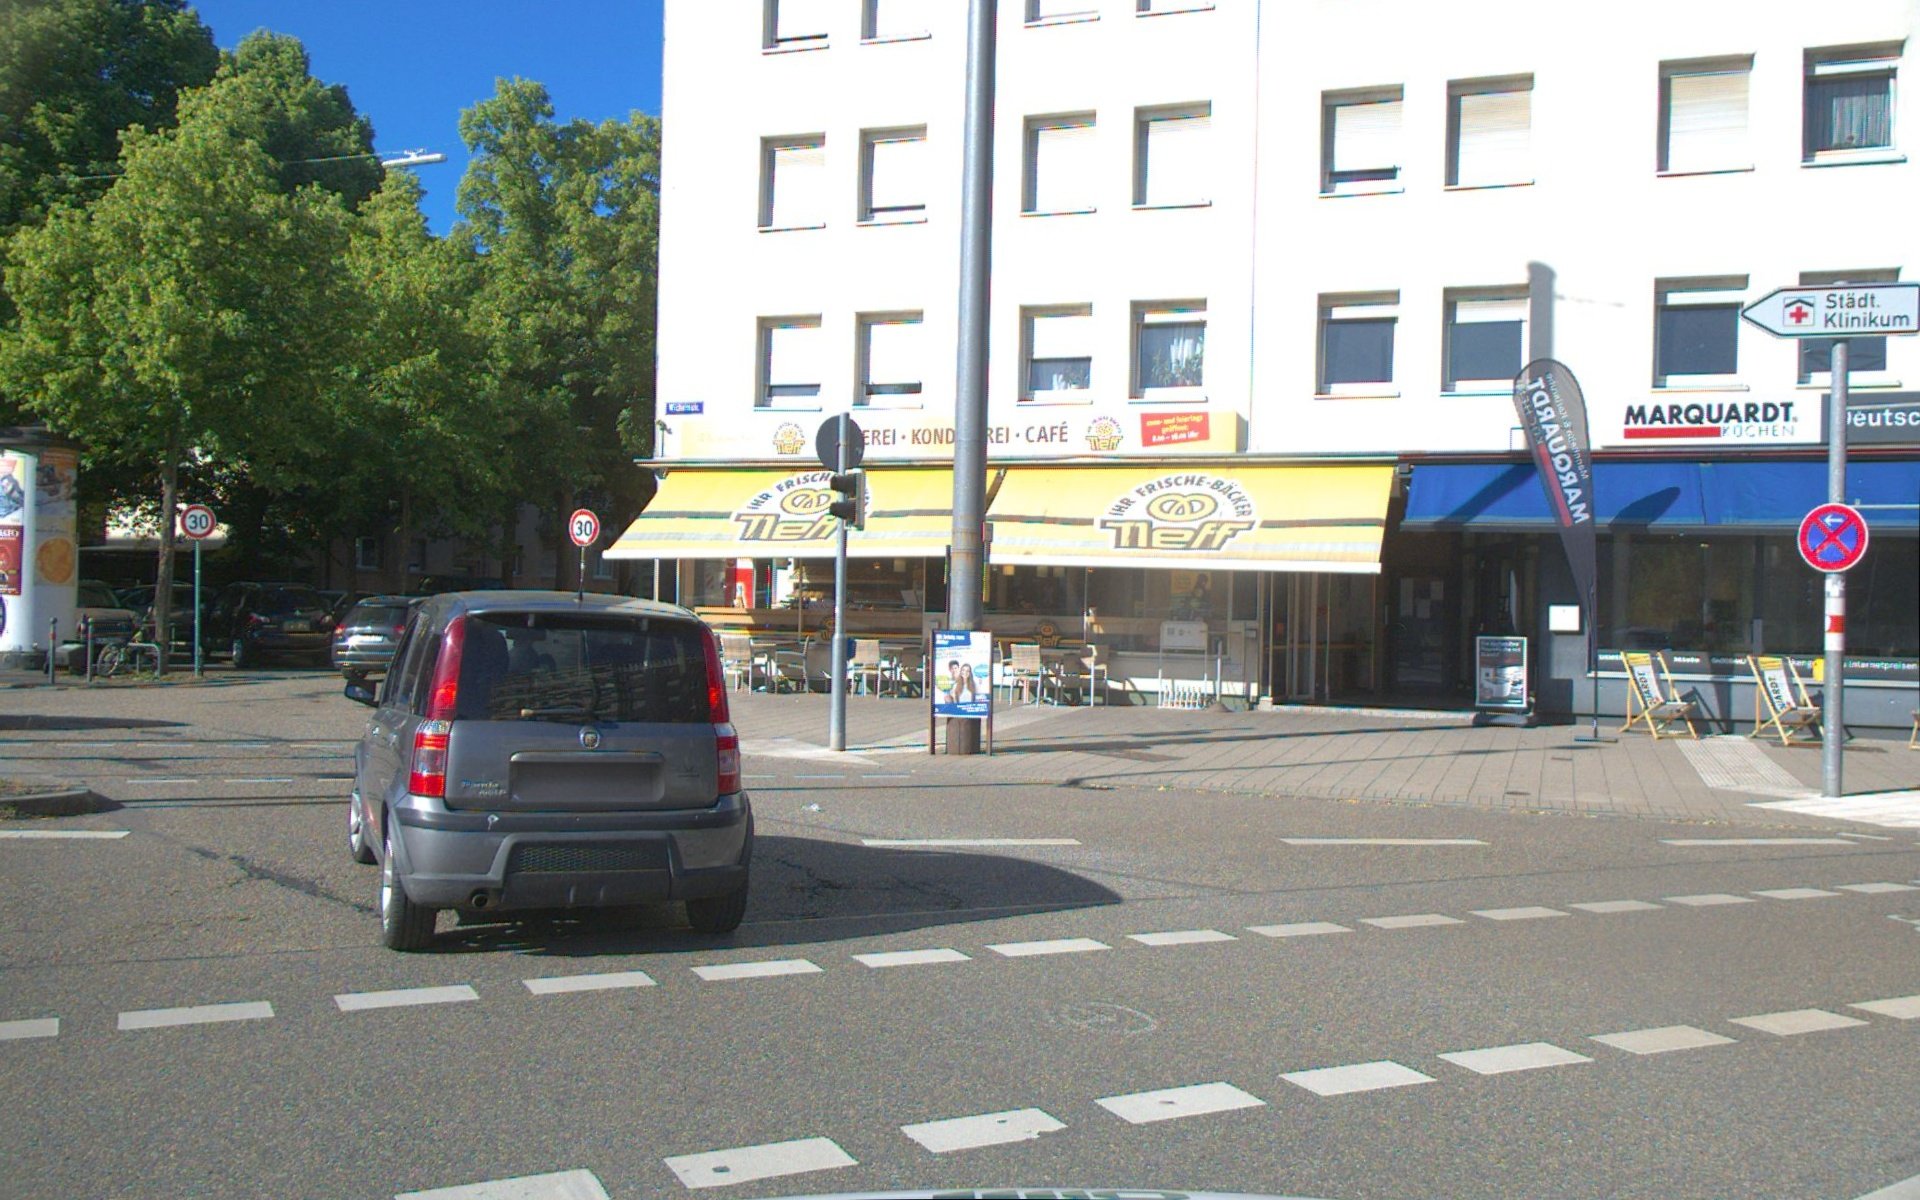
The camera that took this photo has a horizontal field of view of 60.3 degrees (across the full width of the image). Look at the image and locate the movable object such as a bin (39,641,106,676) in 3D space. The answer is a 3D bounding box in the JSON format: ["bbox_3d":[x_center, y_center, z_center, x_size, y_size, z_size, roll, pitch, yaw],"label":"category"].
[{"bbox_3d":[-15.737,1.036,29.346,0.564,0.575,1.113,1,0,0],"label":"movable object such as a bin"}]

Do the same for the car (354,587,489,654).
[{"bbox_3d":[-13.016,0.473,39.878,1.746,1.507,3.767,2,0,-41],"label":"car"}]

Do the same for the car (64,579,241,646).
[{"bbox_3d":[-19.486,0.297,40.113,1.716,1.512,3.952,1,0,13],"label":"car"}]

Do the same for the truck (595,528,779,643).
[{"bbox_3d":[-8.698,-0.423,52.027,2.521,3.351,7.225,1,0,-38],"label":"truck"}]

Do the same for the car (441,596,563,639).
[{"bbox_3d":[-14.668,0.563,53.232,1.726,1.317,4.416,-1,-1,17],"label":"car"}]

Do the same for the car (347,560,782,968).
[{"bbox_3d":[-2.128,0.644,8.264,1.594,1.589,3.234,1,0,-23],"label":"car"}]

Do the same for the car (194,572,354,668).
[{"bbox_3d":[-14.082,0.372,33.834,1.820,1.700,4.275,2,2,-40],"label":"car"}]

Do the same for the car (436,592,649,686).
[{"bbox_3d":[-7.357,0.659,29.550,1.684,1.523,4.023,1,0,21],"label":"car"}]

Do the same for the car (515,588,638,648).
[{"bbox_3d":[-10.644,0.480,45.746,1.793,1.533,4.289,2,0,-36],"label":"car"}]

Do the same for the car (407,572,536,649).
[{"bbox_3d":[-13.010,0.247,43.878,1.914,1.906,4.446,2,0,-36],"label":"car"}]

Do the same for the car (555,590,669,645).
[{"bbox_3d":[-10.548,0.498,49.899,1.793,1.533,4.289,2,0,-36],"label":"car"}]

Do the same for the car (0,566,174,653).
[{"bbox_3d":[-17.566,0.180,33.121,3.928,1.639,1.911,1,0,41],"label":"car"}]

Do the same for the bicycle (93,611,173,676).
[{"bbox_3d":[-14.440,0.751,28.918,0.345,1.091,1.594,1,0,9],"label":"bicycle"}]

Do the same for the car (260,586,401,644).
[{"bbox_3d":[-17.388,0.411,45.885,1.716,1.512,3.952,1,0,13],"label":"car"}]

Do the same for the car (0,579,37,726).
[{"bbox_3d":[-11.861,0.502,17.405,3.667,1.534,1.684,1,0,18],"label":"car"}]

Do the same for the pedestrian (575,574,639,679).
[{"bbox_3d":[-6.066,0.449,28.467,0.744,1.752,0.744,1,0,26],"label":"pedestrian"}]
